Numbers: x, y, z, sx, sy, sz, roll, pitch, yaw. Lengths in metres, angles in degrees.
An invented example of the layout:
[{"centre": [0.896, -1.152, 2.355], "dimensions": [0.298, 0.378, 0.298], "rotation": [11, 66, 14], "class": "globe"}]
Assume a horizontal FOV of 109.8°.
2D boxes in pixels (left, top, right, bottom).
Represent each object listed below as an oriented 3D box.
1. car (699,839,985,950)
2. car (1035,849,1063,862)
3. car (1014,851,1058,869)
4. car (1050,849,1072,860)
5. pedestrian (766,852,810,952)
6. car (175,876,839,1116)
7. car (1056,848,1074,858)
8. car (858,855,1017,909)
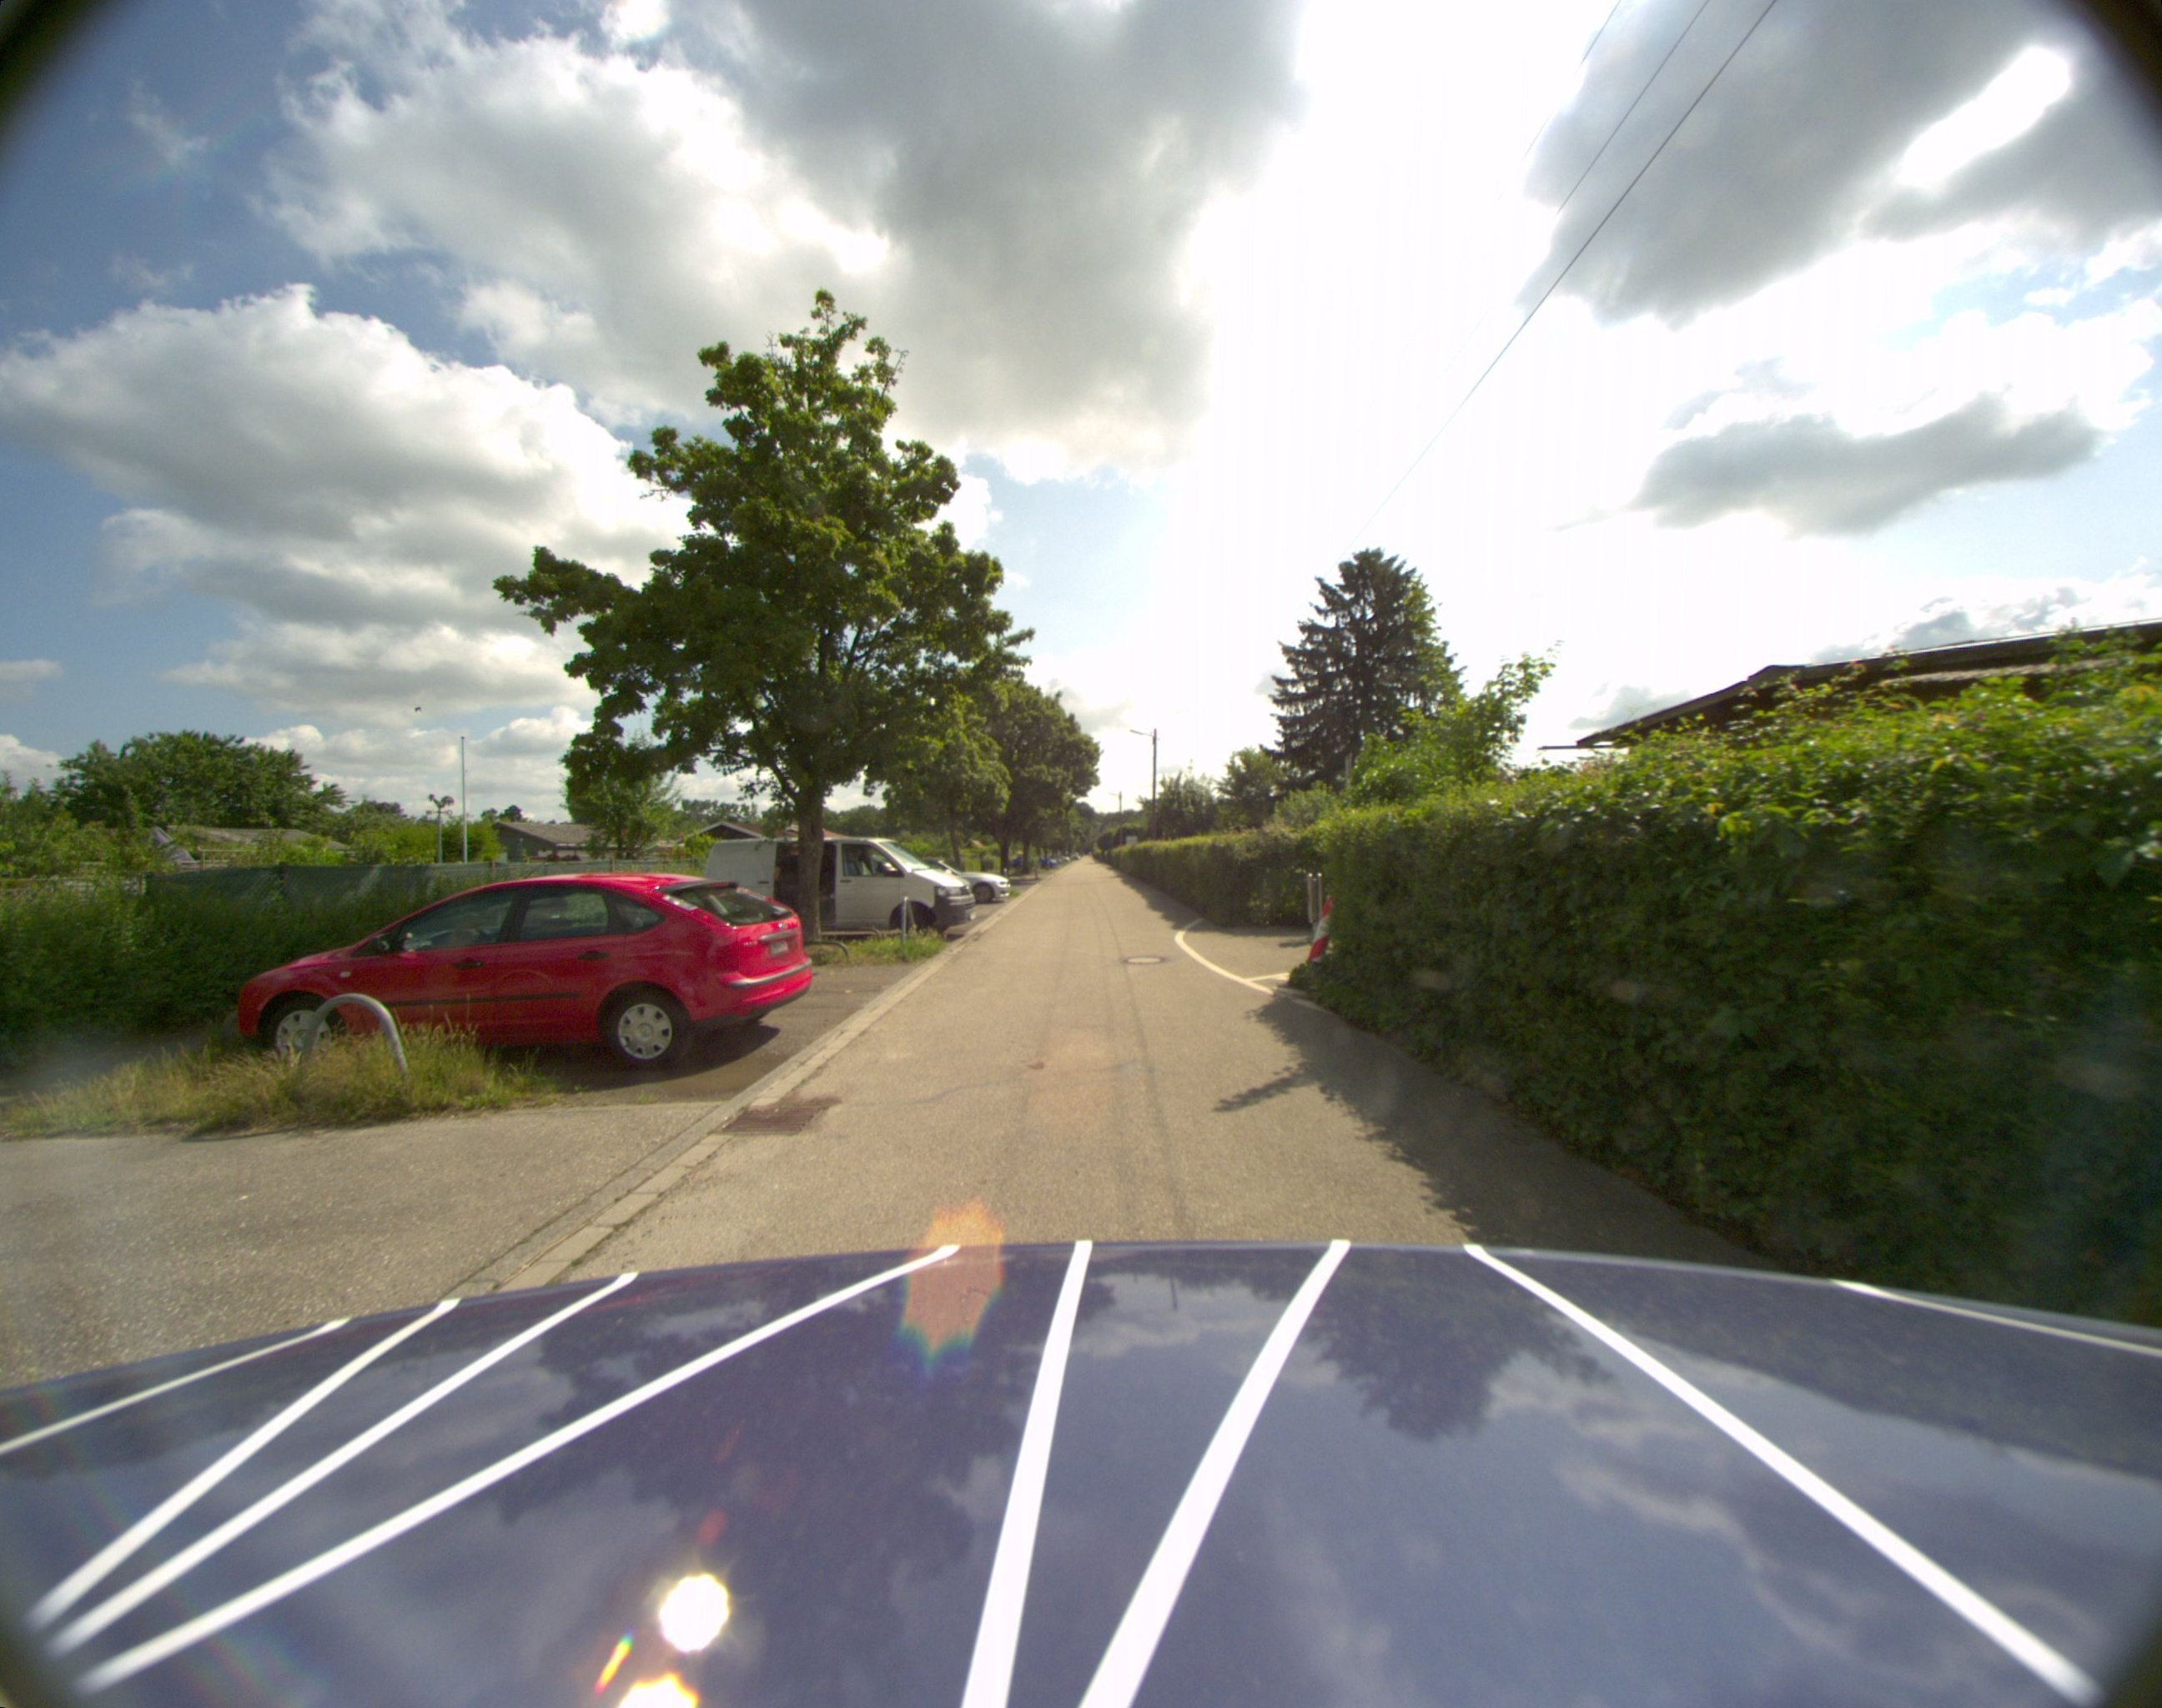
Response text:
[{"centre": [-4.233, 0.685, 14.133], "dimensions": [4.646, 1.875, 2.111], "rotation": [0, 1, -1], "class": "car"}, {"centre": [-4.704, 0.249, 112.569], "dimensions": [3.929, 1.740, 2.000], "rotation": [-3, 1, 0], "class": "car"}, {"centre": [-4.293, 0.559, 72.516], "dimensions": [4.116, 1.573, 1.780], "rotation": [-1, 1, -1], "class": "car"}, {"centre": [-3.660, 0.098, 141.175], "dimensions": [3.929, 1.740, 2.000], "rotation": [-3, 1, 0], "class": "car"}, {"centre": [-4.986, 0.806, 12.930], "dimensions": [0.524, 1.664, 0.474], "rotation": [0, 2, 1], "class": "pedestrian"}, {"centre": [-4.512, 1.077, 6.493], "dimensions": [4.193, 1.496, 1.878], "rotation": [-3, 1, 2], "class": "car"}, {"centre": [-3.619, -0.228, 169.693], "dimensions": [3.998, 1.824, 1.999], "rotation": [-3, 1, -3], "class": "car"}, {"centre": [-4.387, 0.853, 23.840], "dimensions": [4.590, 1.457, 1.999], "rotation": [-2, 1, -3], "class": "car"}]
